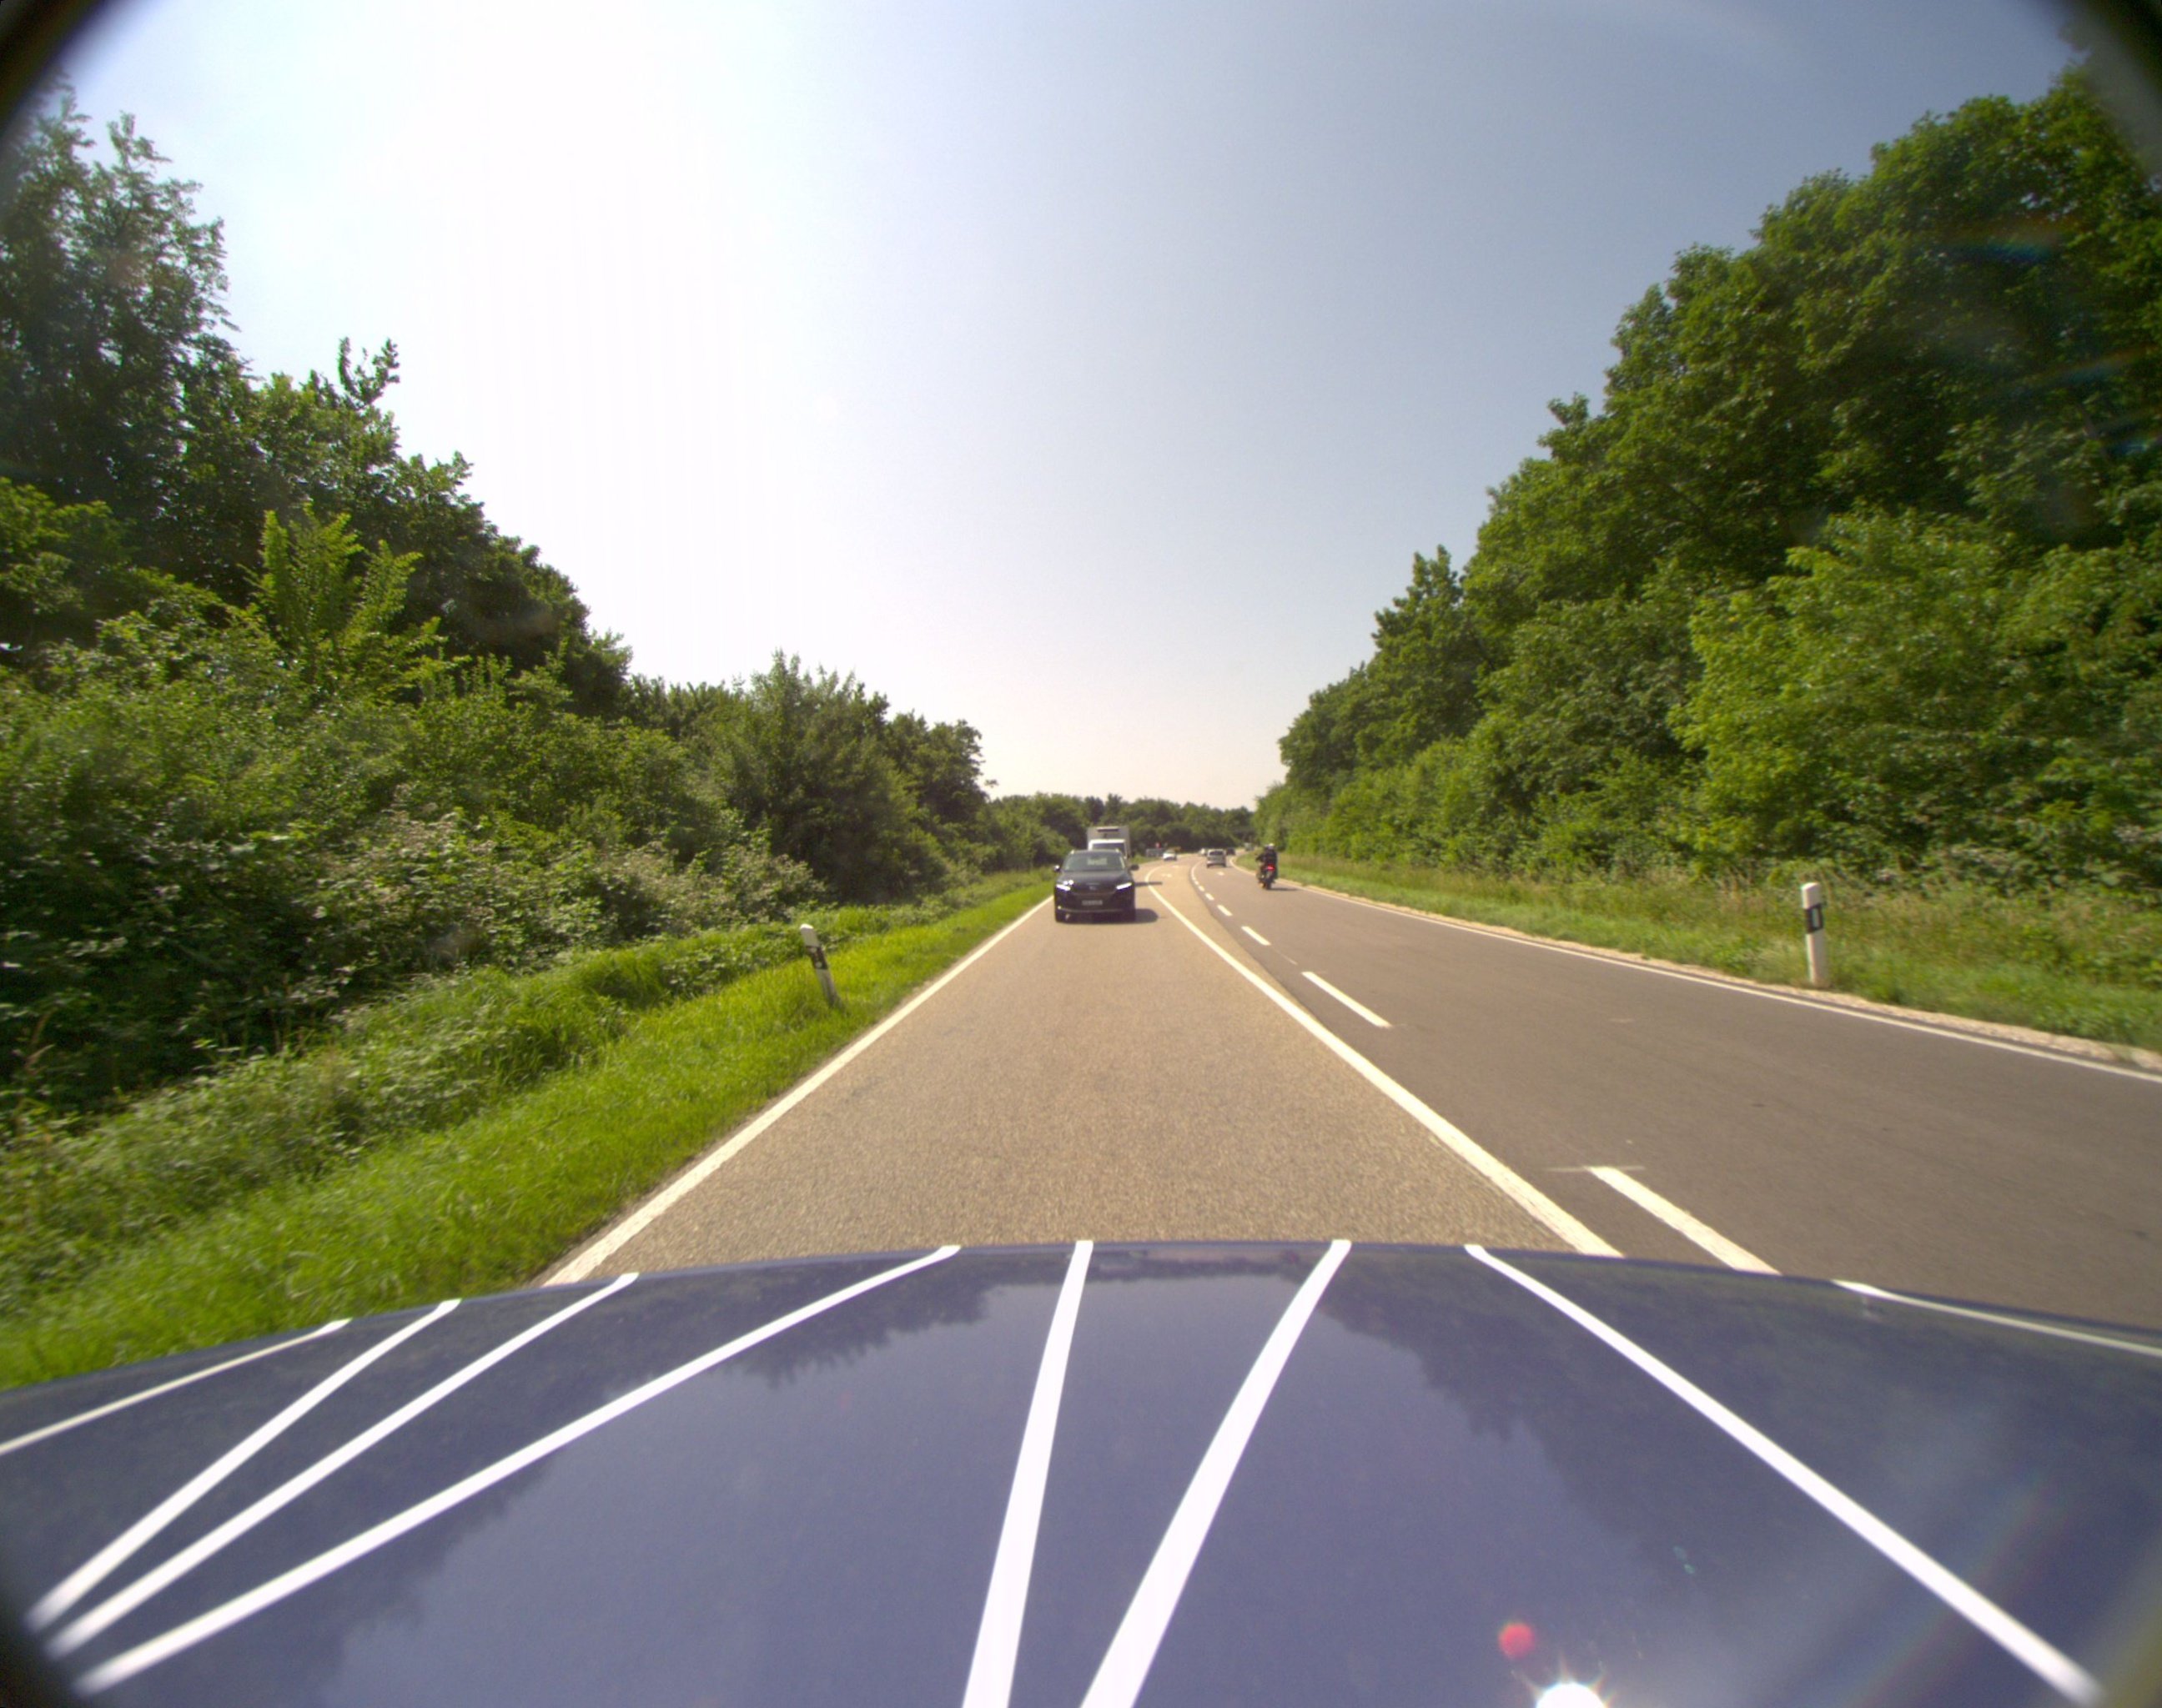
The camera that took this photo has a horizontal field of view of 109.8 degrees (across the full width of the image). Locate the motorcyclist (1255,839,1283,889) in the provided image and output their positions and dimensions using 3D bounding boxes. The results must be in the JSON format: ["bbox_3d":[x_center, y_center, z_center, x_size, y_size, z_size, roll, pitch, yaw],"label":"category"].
[{"bbox_3d":[7.186,0.379,29.077,0.822,1.871,0.657,-2,1,0],"label":"motorcyclist"}]

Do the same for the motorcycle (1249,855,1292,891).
[{"bbox_3d":[7.160,0.689,28.885,0.949,1.243,2.682,-2,0,1],"label":"motorcycle"}]

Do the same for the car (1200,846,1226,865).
[{"bbox_3d":[12.100,0.123,69.843,1.806,1.627,4.212,-2,1,4],"label":"car"}]

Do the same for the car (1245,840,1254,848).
[{"bbox_3d":[39.555,-2.372,178.577,1.845,1.769,4.897,-2,1,12],"label":"car"}]

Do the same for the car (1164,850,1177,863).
[{"bbox_3d":[13.649,0.370,116.226,1.808,1.797,4.001,-2,0,4],"label":"car"}]

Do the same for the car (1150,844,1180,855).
[{"bbox_3d":[16.083,-0.847,145.696,5.227,1.896,2.012,-3,2,-3],"label":"car"}]

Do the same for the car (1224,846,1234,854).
[{"bbox_3d":[26.828,-0.745,137.944,1.617,1.493,3.554,-2,0,8],"label":"car"}]

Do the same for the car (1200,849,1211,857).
[{"bbox_3d":[23.885,-0.257,145.340,1.711,1.411,4.101,-2,1,14],"label":"car"}]

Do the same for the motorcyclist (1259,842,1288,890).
[{"bbox_3d":[7.182,0.435,28.370,0.832,1.742,0.623,-2,1,0],"label":"motorcyclist"}]

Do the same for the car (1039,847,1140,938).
[{"bbox_3d":[0.320,0.758,17.837,1.924,1.711,5.480,-3,0,3],"label":"car"}]

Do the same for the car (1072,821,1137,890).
[{"bbox_3d":[1.314,-0.024,37.818,2.590,3.047,6.883,-2,2,6],"label":"car"}]

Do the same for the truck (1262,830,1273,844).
[{"bbox_3d":[53.017,-4.862,215.673,2.630,3.650,8.805,-2,1,17],"label":"truck"}]
